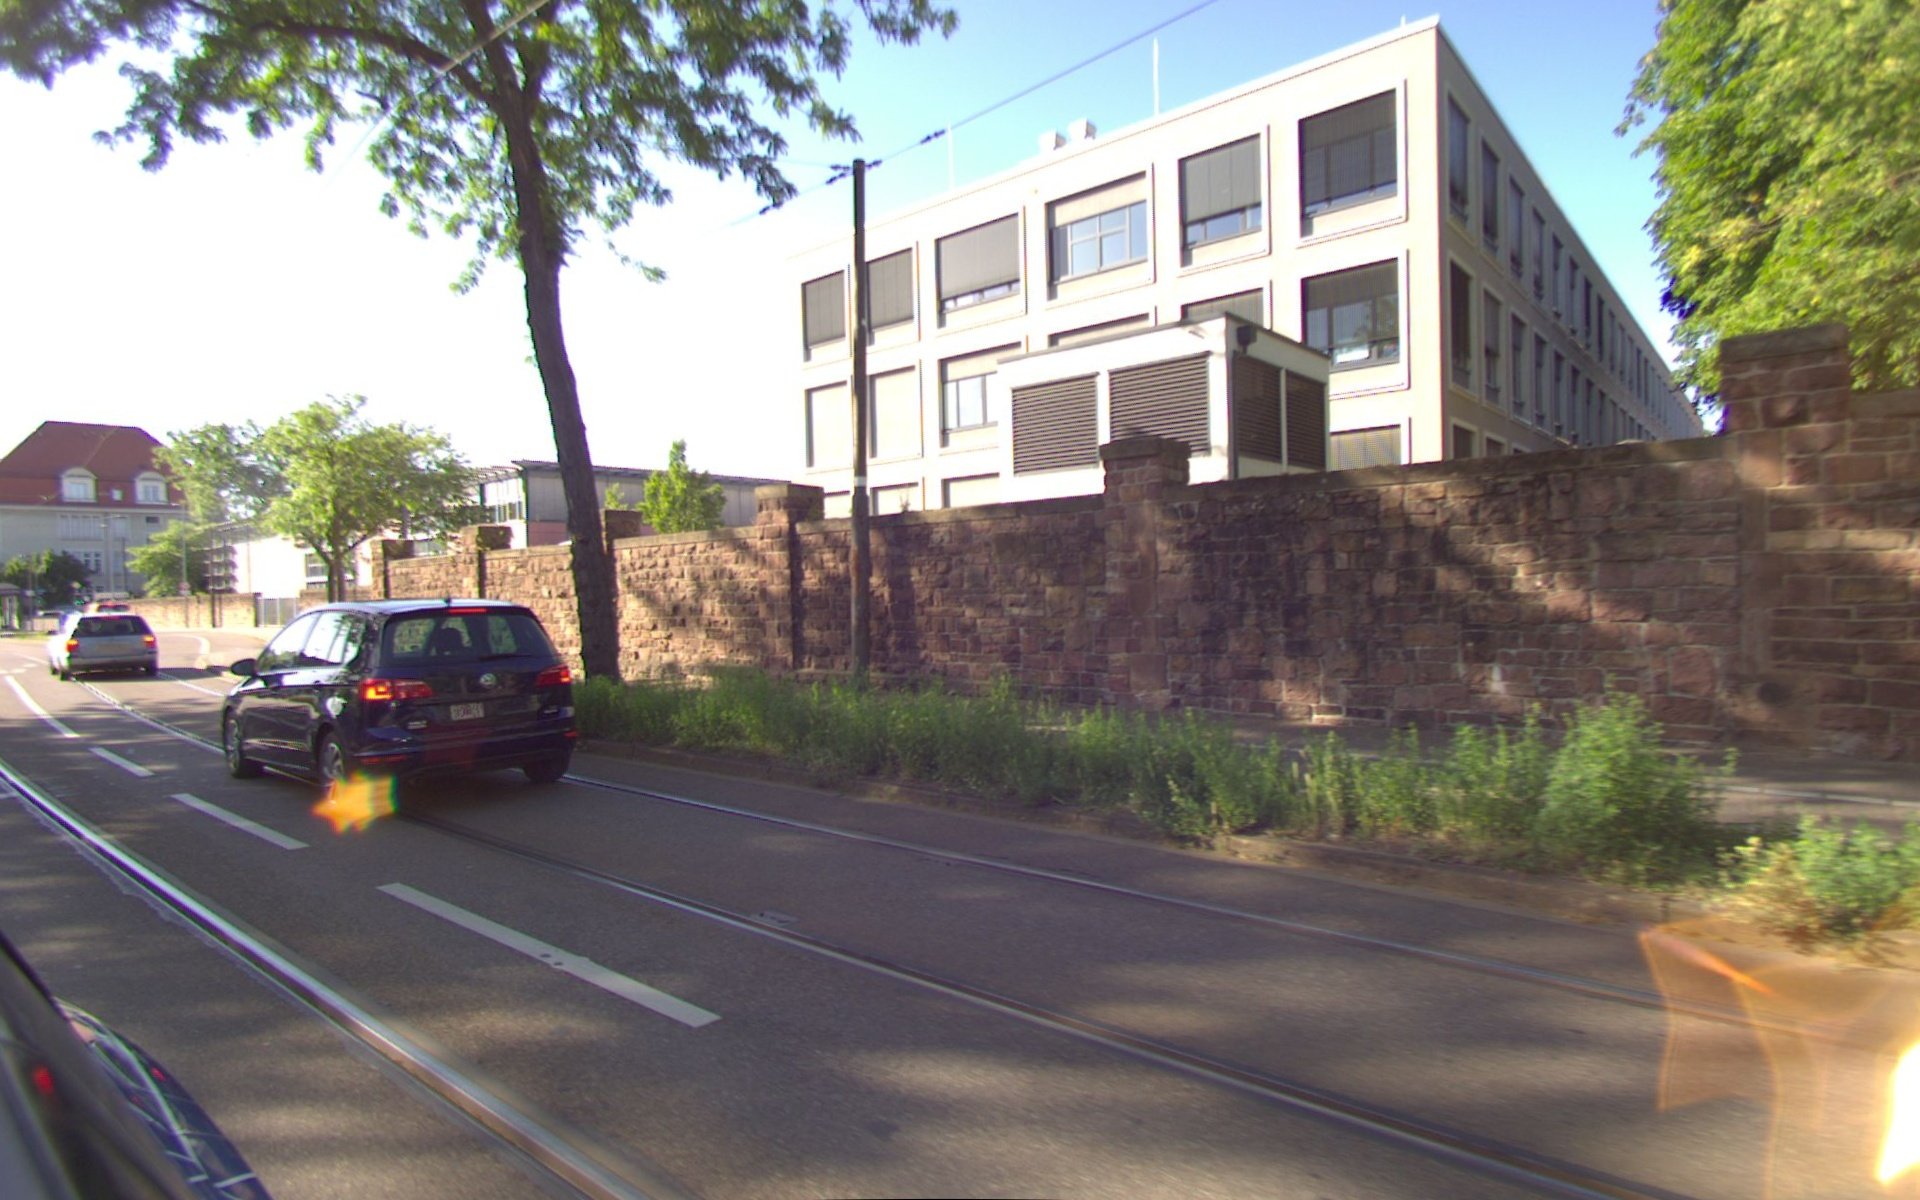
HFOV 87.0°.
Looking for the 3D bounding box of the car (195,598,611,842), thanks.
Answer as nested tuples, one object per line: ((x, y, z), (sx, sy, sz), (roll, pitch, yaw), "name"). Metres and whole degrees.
((-4.850, 0.813, 8.574), (4.032, 1.535, 1.731), (-1, 1, 40), "car")

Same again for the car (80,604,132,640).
((-51.070, 1.294, 60.481), (1.971, 1.980, 4.936), (-2, 1, -45), "car")

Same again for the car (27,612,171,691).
((-19.552, 1.088, 22.911), (4.580, 1.535, 1.972), (-1, 1, 44), "car")
